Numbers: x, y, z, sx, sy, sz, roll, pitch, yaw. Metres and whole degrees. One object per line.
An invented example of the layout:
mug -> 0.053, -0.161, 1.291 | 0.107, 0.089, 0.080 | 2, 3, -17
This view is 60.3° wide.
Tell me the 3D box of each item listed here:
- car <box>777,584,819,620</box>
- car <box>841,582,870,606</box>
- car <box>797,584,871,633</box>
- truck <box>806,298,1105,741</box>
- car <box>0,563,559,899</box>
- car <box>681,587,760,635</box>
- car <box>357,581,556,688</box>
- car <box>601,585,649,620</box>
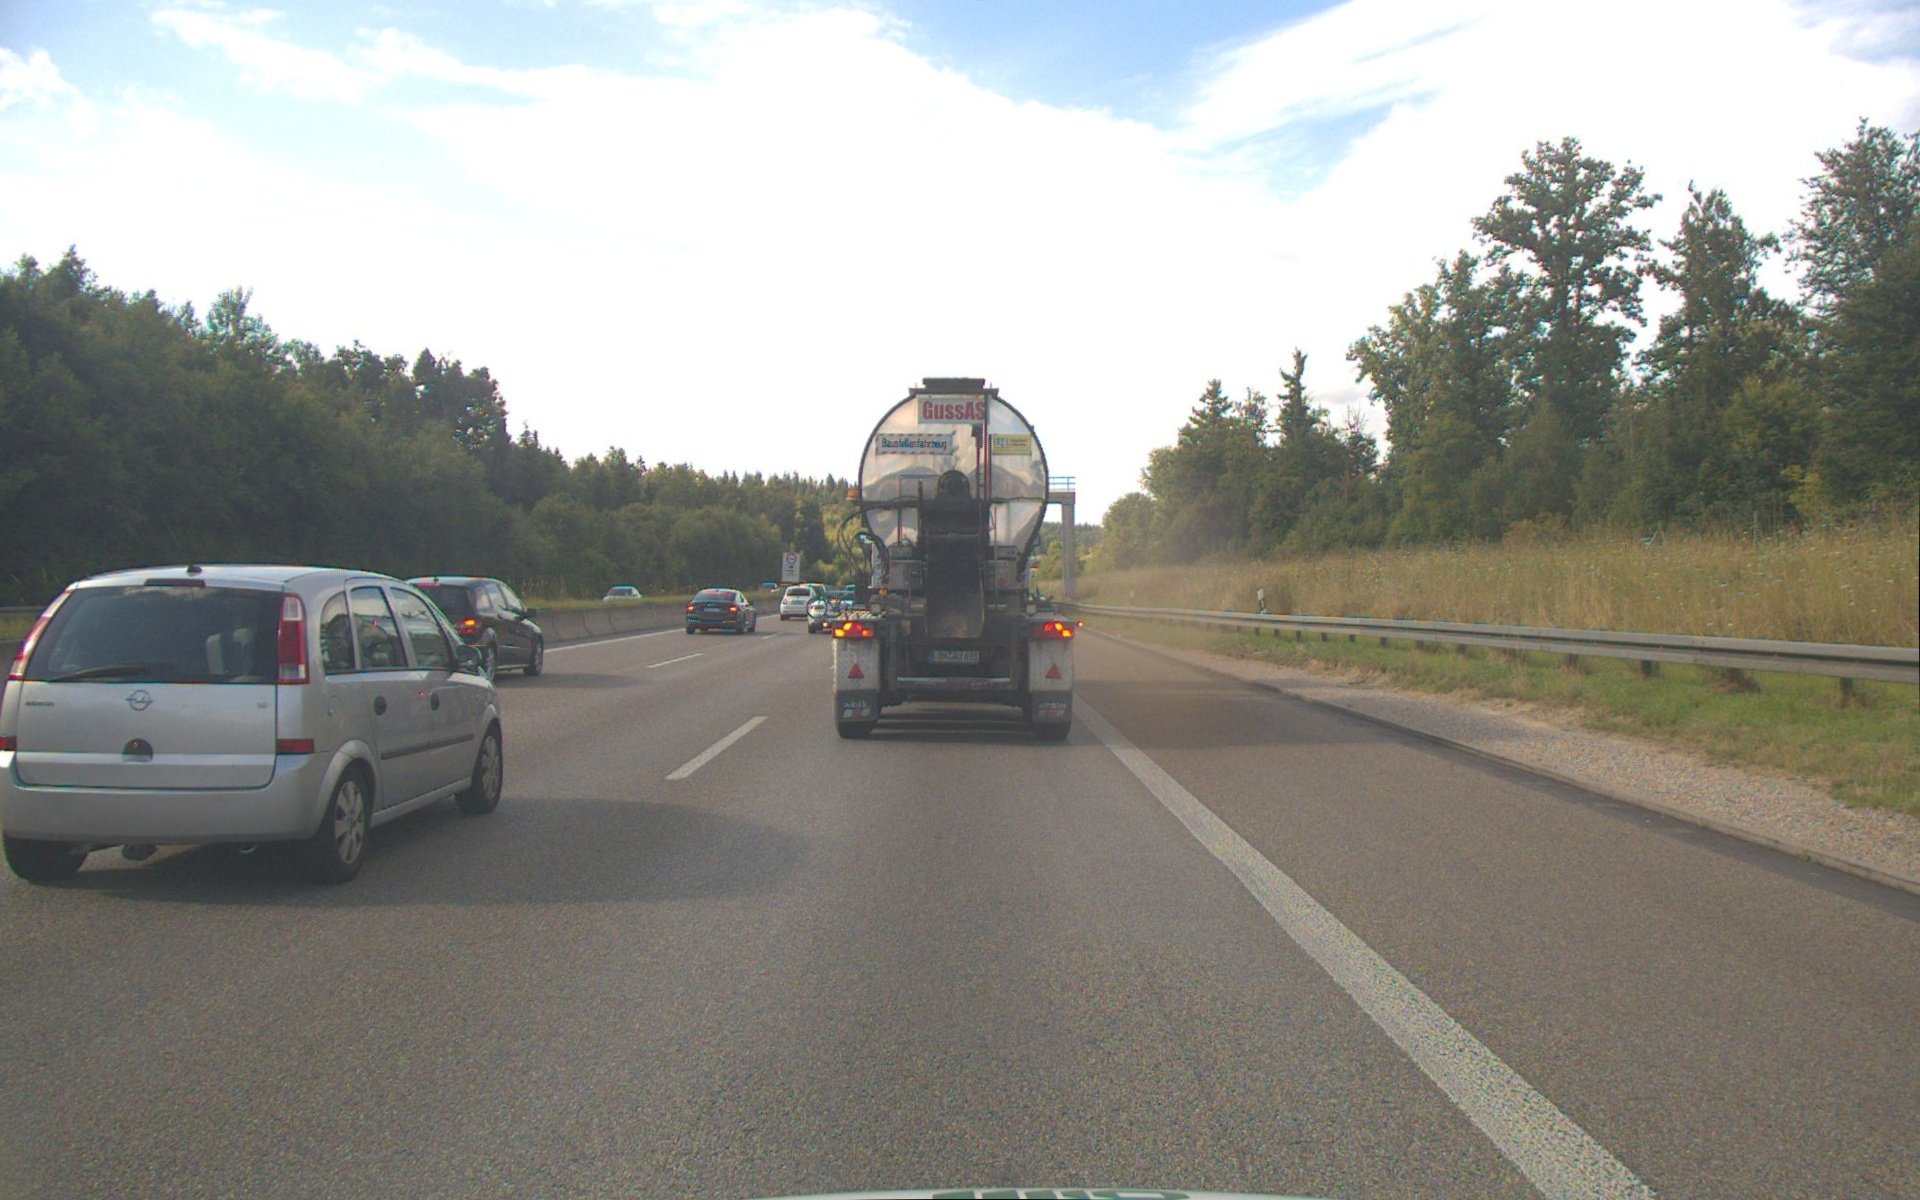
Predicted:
car -> -7.276, 0.078, 74.397 | 1.585, 1.571, 3.519 | 1, 0, -1
car -> -7.203, -0.427, 113.986 | 1.770, 1.613, 4.206 | 1, 1, -1
car -> -4.116, 0.246, 54.837 | 2.018, 1.525, 5.736 | 0, 0, 0
truck -> -0.042, -0.816, 21.489 | 2.853, 4.230, 11.269 | 0, 0, 0
car -> -3.790, 0.586, 9.785 | 1.798, 1.544, 4.333 | 0, 0, 0
car -> -7.593, 0.325, 52.748 | 1.818, 1.456, 4.841 | 0, 0, 0
car -> -7.753, 0.479, 25.910 | 1.798, 1.544, 4.333 | 0, 0, 0
car -> -18.771, 0.122, 92.918 | 1.887, 1.938, 4.428 | 0, 0, -1
